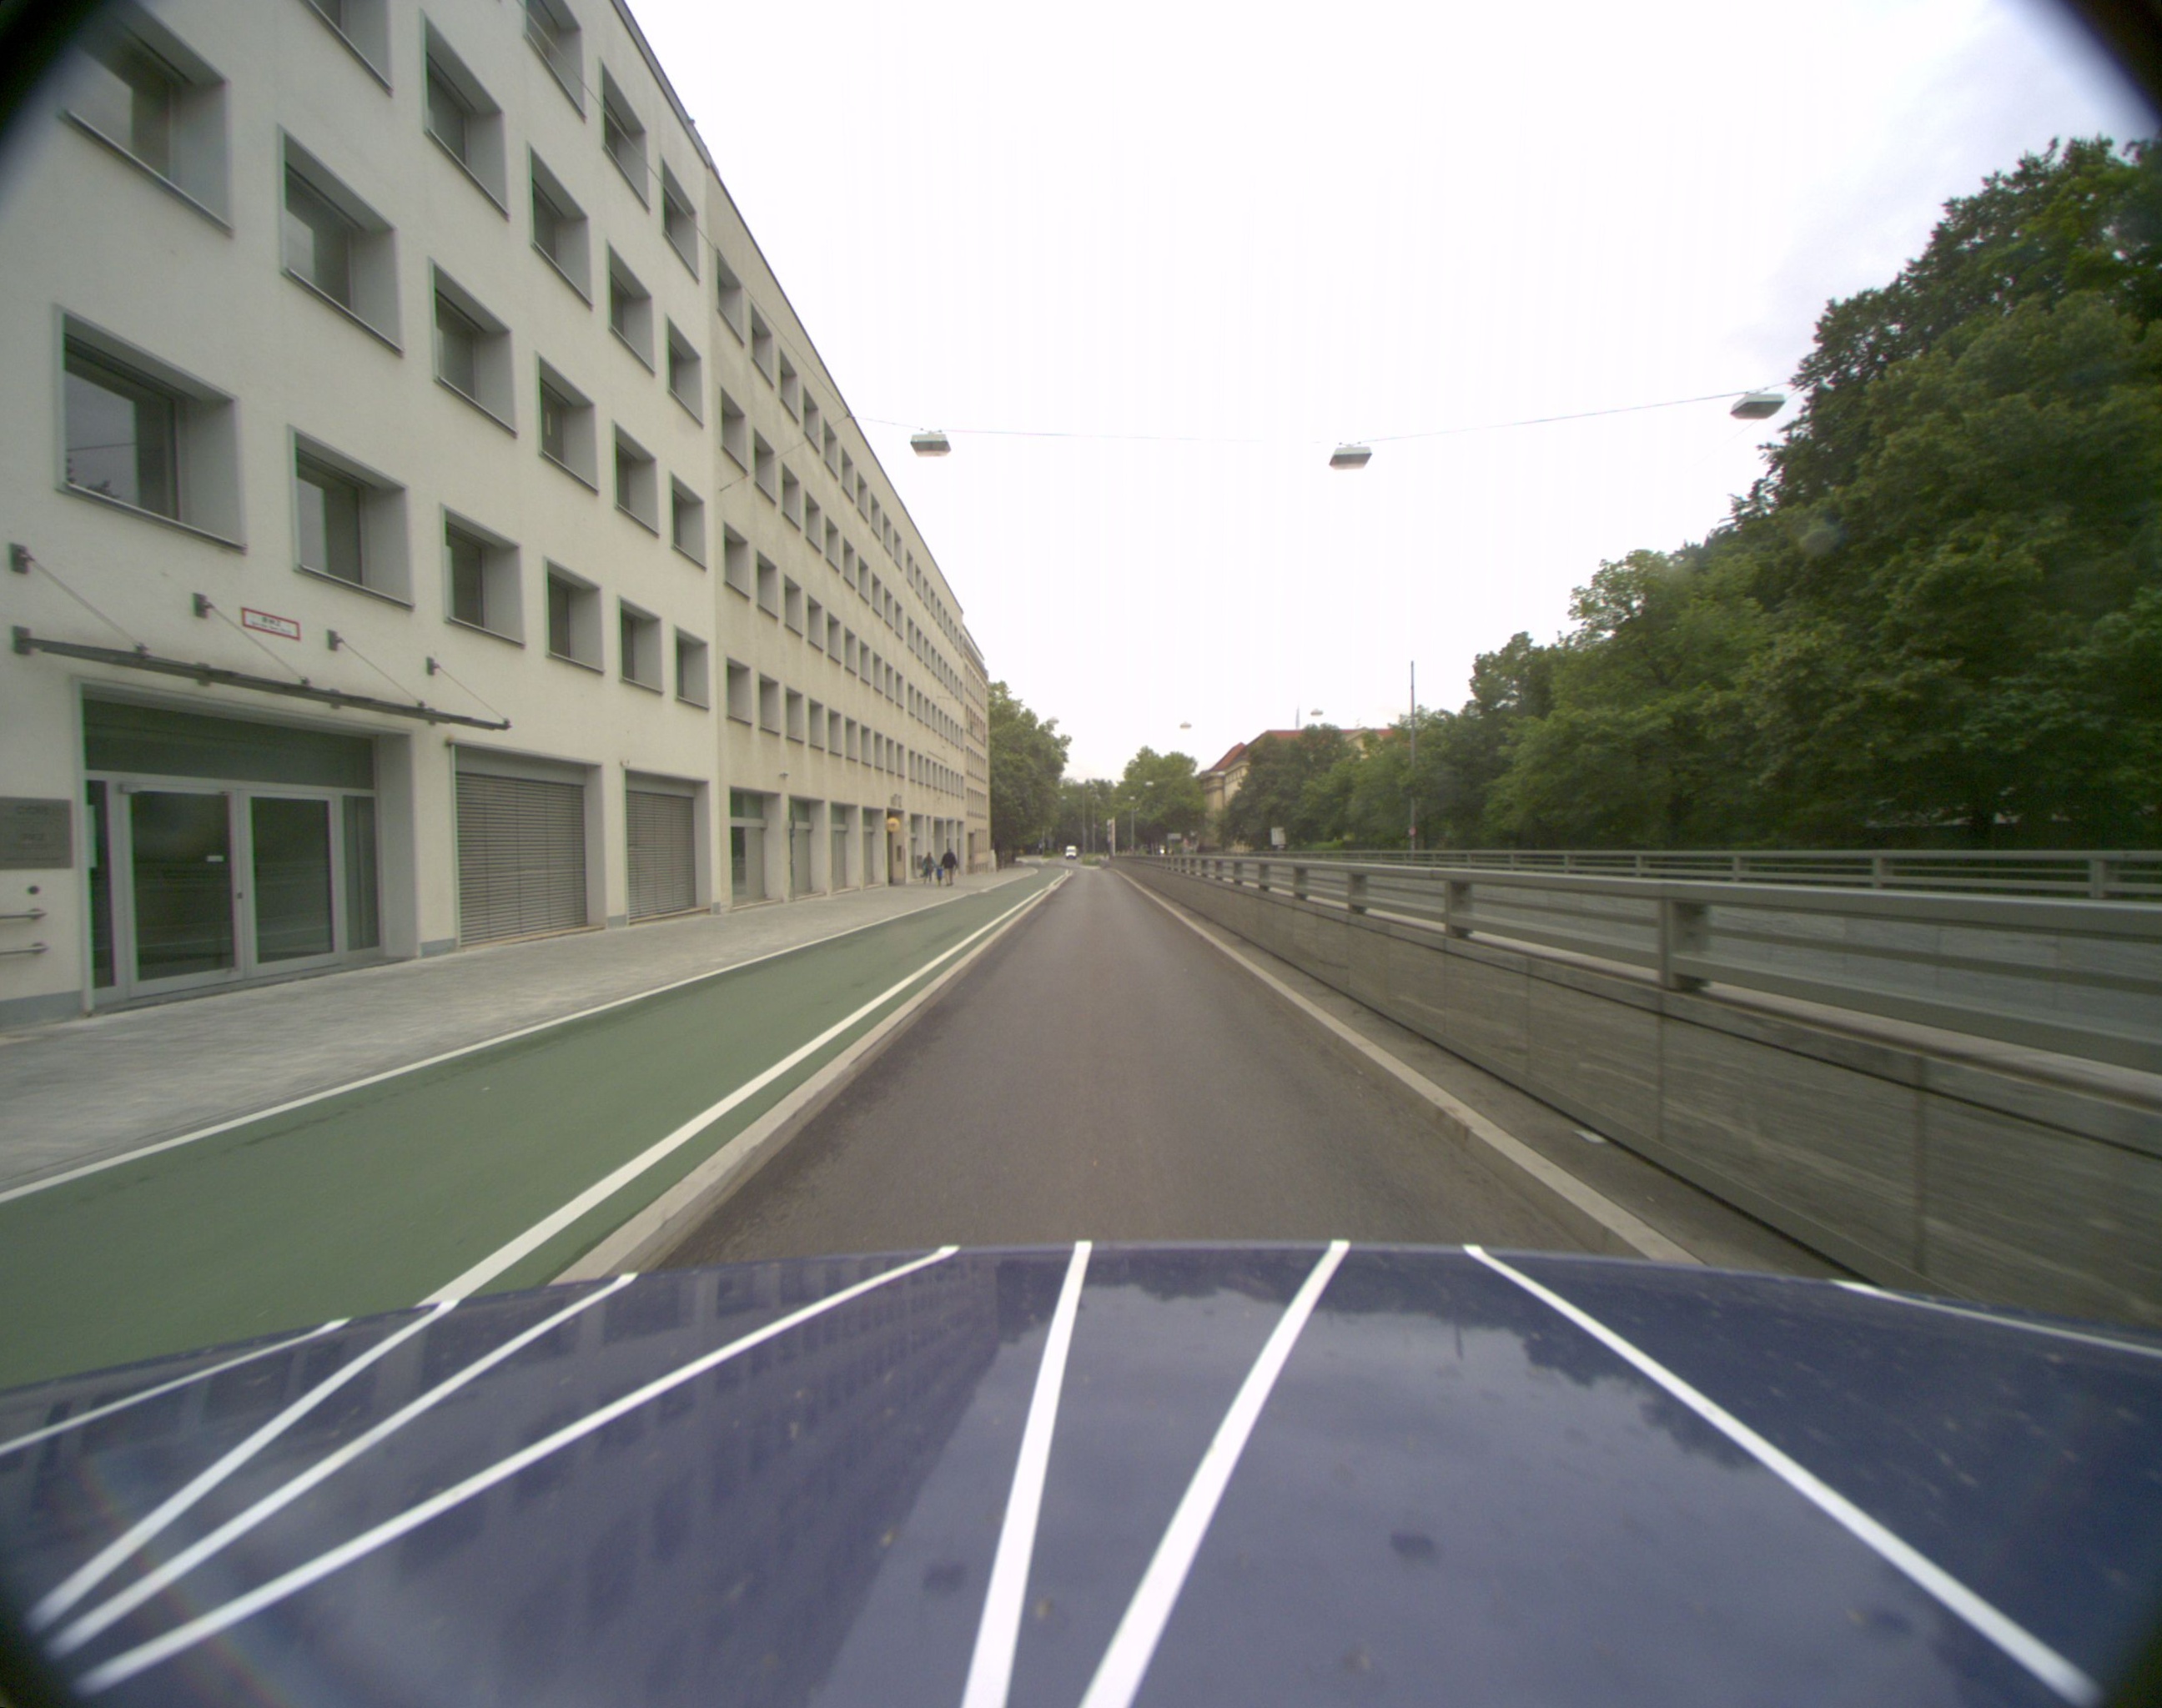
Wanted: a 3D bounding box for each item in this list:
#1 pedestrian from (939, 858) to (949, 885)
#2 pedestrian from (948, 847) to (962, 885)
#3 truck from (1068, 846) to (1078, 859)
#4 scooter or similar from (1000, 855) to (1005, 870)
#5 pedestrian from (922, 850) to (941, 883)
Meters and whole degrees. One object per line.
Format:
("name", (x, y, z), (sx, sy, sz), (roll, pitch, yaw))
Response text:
("pedestrian", (-6.638, 0.848, 36.815), (0.368, 1.239, 0.470), (3, 1, 1))
("pedestrian", (-6.158, 0.576, 37.076), (0.514, 1.825, 0.602), (3, 1, 1))
("truck", (-1.588, -0.368, 155.153), (2.058, 2.625, 4.411), (-2, 1, 0))
("scooter or similar", (-7.081, 0.765, 68.535), (0.387, 1.265, 1.119), (1, 2, 0))
("pedestrian", (-7.597, 0.622, 38.603), (0.754, 1.610, 0.704), (3, 1, 1))
